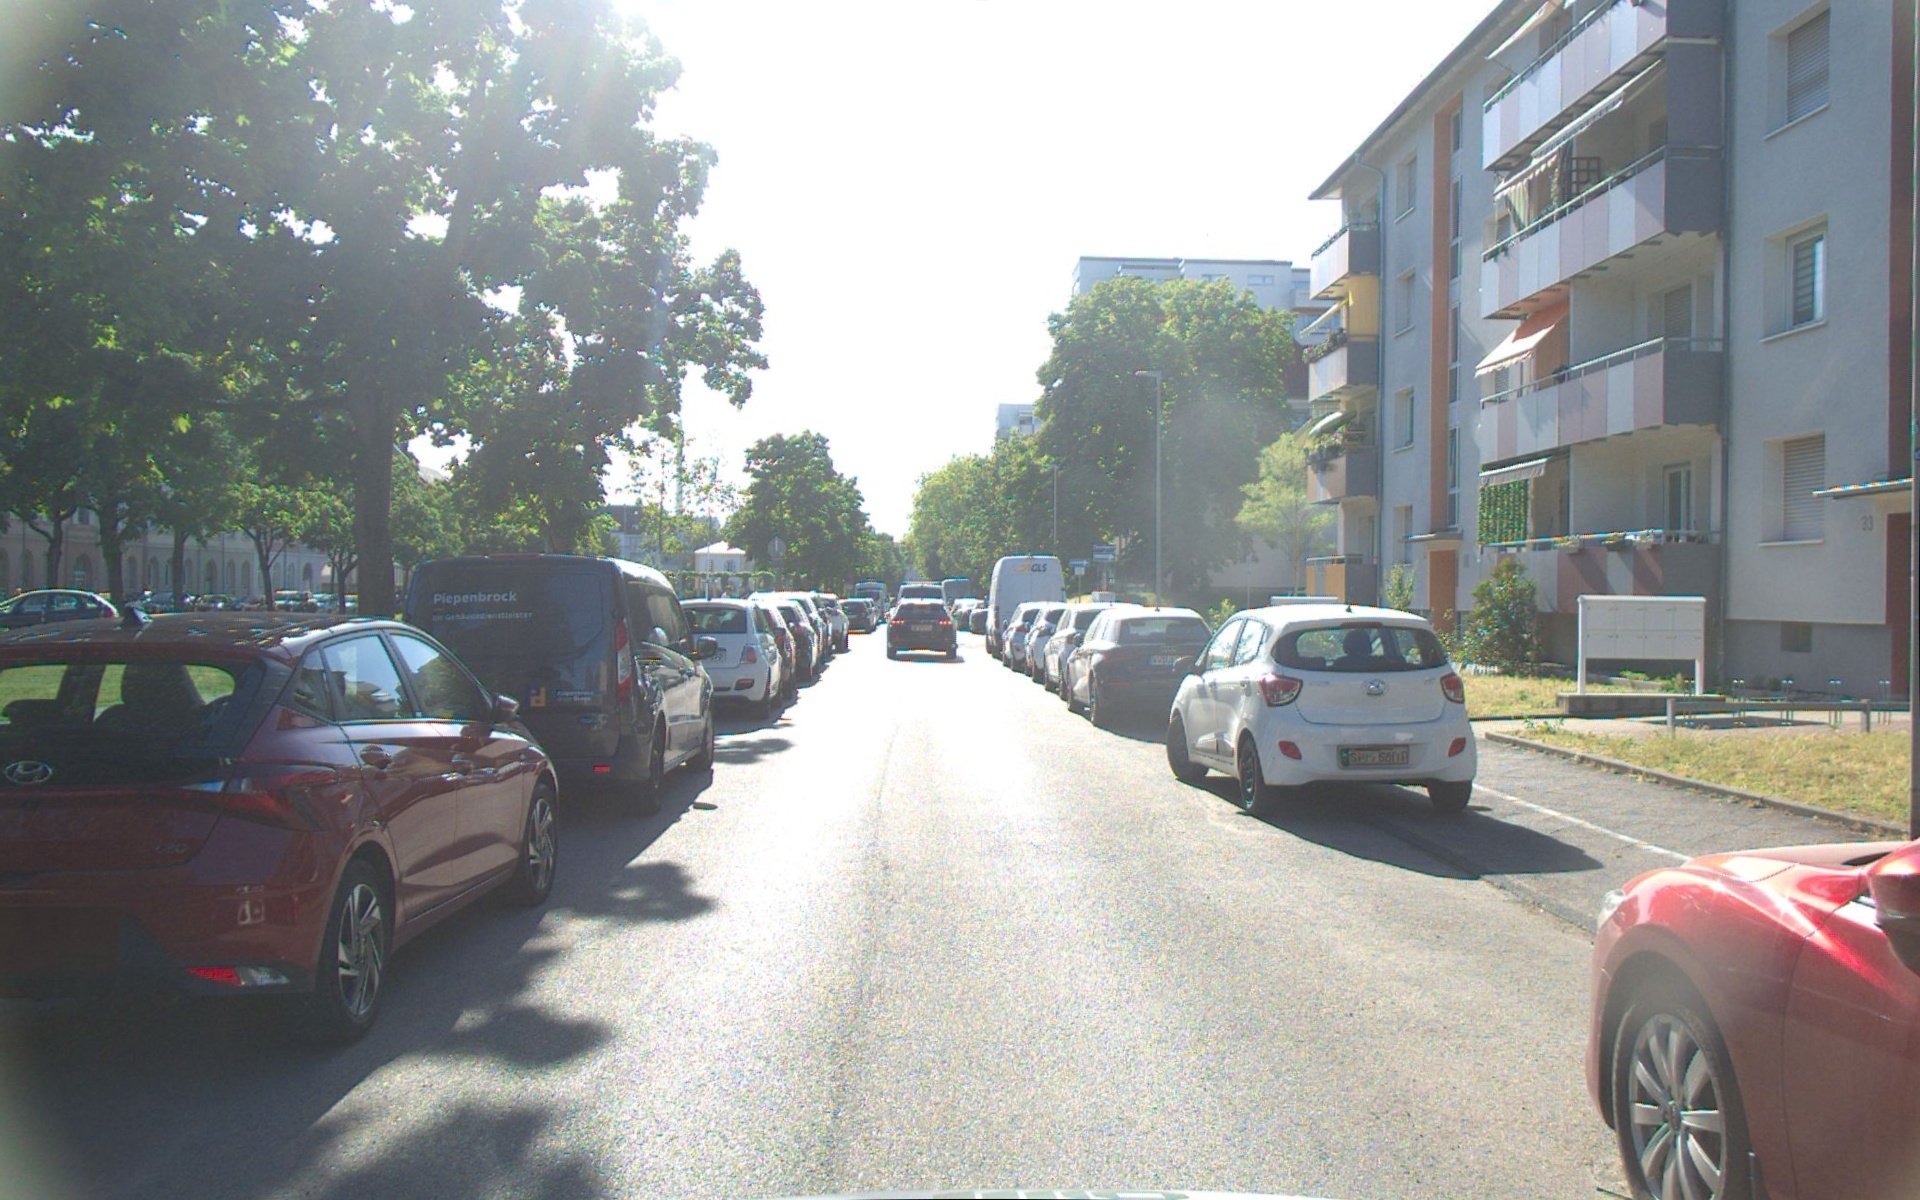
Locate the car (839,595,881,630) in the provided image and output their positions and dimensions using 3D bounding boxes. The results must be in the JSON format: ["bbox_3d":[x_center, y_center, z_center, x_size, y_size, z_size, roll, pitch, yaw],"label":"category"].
[{"bbox_3d":[-4.566,0.586,75.939,1.741,1.521,3.874,-2,0,-1],"label":"car"}]

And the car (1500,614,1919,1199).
[{"bbox_3d":[2.668,0.805,2.592,1.806,1.498,5.063,0,0,-3],"label":"car"}]

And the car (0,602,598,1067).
[{"bbox_3d":[-2.764,0.743,7.262,1.507,1.453,4.086,0,0,-1],"label":"car"}]

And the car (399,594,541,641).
[{"bbox_3d":[-16.255,0.565,54.897,4.281,1.433,1.905,0,2,-27],"label":"car"}]

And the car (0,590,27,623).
[{"bbox_3d":[-38.885,0.255,65.863,1.661,1.301,3.523,0,0,-4],"label":"car"}]

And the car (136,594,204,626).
[{"bbox_3d":[-39.387,0.474,82.568,1.599,1.576,4.351,0,0,-4],"label":"car"}]

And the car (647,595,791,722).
[{"bbox_3d":[-3.146,0.710,22.149,1.555,1.518,3.683,-1,0,-3],"label":"car"}]

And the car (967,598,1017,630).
[{"bbox_3d":[1.427,0.618,75.359,2.082,1.361,4.505,-2,0,-1],"label":"car"}]

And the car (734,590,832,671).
[{"bbox_3d":[-3.858,0.629,36.770,1.783,1.638,4.737,-1,0,-2],"label":"car"}]

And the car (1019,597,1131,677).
[{"bbox_3d":[2.223,0.684,32.904,1.840,1.501,4.139,0,0,-2],"label":"car"}]

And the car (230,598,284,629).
[{"bbox_3d":[-40.025,0.762,94.277,1.599,1.716,4.077,0,0,-4],"label":"car"}]

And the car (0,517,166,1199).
[{"bbox_3d":[-2.605,0.708,0.997,1.984,1.654,4.756,-1,0,-1],"label":"car"}]

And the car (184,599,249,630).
[{"bbox_3d":[-39.858,0.769,88.728,1.722,1.576,4.524,0,0,-4],"label":"car"}]

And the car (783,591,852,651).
[{"bbox_3d":[-4.202,0.600,49.369,1.720,1.676,4.286,-1,0,-1],"label":"car"}]

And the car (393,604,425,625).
[{"bbox_3d":[-40.928,1.079,122.841,1.487,1.465,3.229,0,0,-4],"label":"car"}]

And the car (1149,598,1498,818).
[{"bbox_3d":[2.778,0.750,13.529,1.714,1.525,3.857,0,0,-5],"label":"car"}]

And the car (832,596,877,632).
[{"bbox_3d":[-4.535,0.608,71.417,1.712,1.449,3.915,-2,-1,-1],"label":"car"}]

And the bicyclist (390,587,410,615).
[{"bbox_3d":[-37.452,0.078,110.611,0.922,1.869,1.449,0,-1,-2],"label":"bicyclist"}]

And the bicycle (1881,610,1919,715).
[{"bbox_3d":[10.453,0.667,17.207,0.513,1.089,2.009,-2,0,-3],"label":"bicycle"}]

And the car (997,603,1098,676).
[{"bbox_3d":[1.926,0.844,37.581,1.812,1.491,4.199,1,0,-3],"label":"car"}]

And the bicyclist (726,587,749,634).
[{"bbox_3d":[-7.793,0.354,57.968,0.773,1.624,0.695,0,0,-5],"label":"bicyclist"}]

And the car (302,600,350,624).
[{"bbox_3d":[-40.472,0.748,105.597,1.659,1.454,3.773,0,0,-1],"label":"car"}]

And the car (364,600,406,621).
[{"bbox_3d":[-41.107,0.751,118.318,1.809,1.465,3.773,0,0,-2],"label":"car"}]

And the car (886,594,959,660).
[{"bbox_3d":[-0.939,0.654,42.234,1.743,1.558,3.999,1,0,-1],"label":"car"}]

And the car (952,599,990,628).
[{"bbox_3d":[0.517,0.657,81.284,1.743,1.395,4.126,0,0,-1],"label":"car"}]

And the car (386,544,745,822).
[{"bbox_3d":[-2.904,0.563,13.338,1.827,1.816,4.989,0,-1,-2],"label":"car"}]

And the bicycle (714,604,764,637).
[{"bbox_3d":[-7.742,0.729,57.974,1.726,1.147,0.662,0,-1,-5],"label":"bicycle"}]

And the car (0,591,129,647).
[{"bbox_3d":[-27.344,0.547,49.589,4.281,1.604,1.913,0,0,-27],"label":"car"}]

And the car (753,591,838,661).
[{"bbox_3d":[-4.201,0.632,42.848,1.805,1.667,4.713,-1,0,-2],"label":"car"}]

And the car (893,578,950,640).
[{"bbox_3d":[-1.285,0.296,56.793,1.856,2.026,4.009,-1,0,-1],"label":"car"}]

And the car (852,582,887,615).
[{"bbox_3d":[-5.547,-0.081,102.108,2.056,1.976,4.125,0,0,-2],"label":"car"}]

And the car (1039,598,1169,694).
[{"bbox_3d":[2.313,0.709,27.529,1.686,1.460,4.151,0,0,-2],"label":"car"}]

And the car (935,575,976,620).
[{"bbox_3d":[-0.331,-0.142,102.807,2.120,2.736,5.411,0,0,-5],"label":"car"}]

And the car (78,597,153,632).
[{"bbox_3d":[-39.378,0.647,77.219,1.661,1.553,4.077,0,0,-4],"label":"car"}]

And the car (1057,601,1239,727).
[{"bbox_3d":[2.390,0.765,22.099,1.665,1.460,4.468,-1,0,-3],"label":"car"}]

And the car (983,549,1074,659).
[{"bbox_3d":[1.788,0.086,45.549,2.099,2.760,6.840,-1,0,-1],"label":"car"}]

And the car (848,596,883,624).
[{"bbox_3d":[-5.334,0.548,93.644,1.796,1.526,4.126,0,0,-1],"label":"car"}]

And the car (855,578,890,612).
[{"bbox_3d":[-7.033,-0.411,133.932,2.563,2.691,6.113,0,0,-1],"label":"car"}]

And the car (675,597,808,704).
[{"bbox_3d":[-3.417,0.741,26.583,1.720,1.518,4.665,-1,0,-3],"label":"car"}]

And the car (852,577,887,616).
[{"bbox_3d":[-5.907,-0.228,108.508,2.056,2.540,4.126,0,0,-1],"label":"car"}]

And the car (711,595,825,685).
[{"bbox_3d":[-3.607,0.709,31.748,1.836,1.546,4.468,-2,0,-3],"label":"car"}]

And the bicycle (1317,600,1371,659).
[{"bbox_3d":[8.052,0.631,34.762,0.584,1.197,2.012,0,-2,-3],"label":"bicycle"}]

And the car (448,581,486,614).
[{"bbox_3d":[-41.997,-0.222,141.030,1.878,2.792,5.620,0,0,-4],"label":"car"}]
